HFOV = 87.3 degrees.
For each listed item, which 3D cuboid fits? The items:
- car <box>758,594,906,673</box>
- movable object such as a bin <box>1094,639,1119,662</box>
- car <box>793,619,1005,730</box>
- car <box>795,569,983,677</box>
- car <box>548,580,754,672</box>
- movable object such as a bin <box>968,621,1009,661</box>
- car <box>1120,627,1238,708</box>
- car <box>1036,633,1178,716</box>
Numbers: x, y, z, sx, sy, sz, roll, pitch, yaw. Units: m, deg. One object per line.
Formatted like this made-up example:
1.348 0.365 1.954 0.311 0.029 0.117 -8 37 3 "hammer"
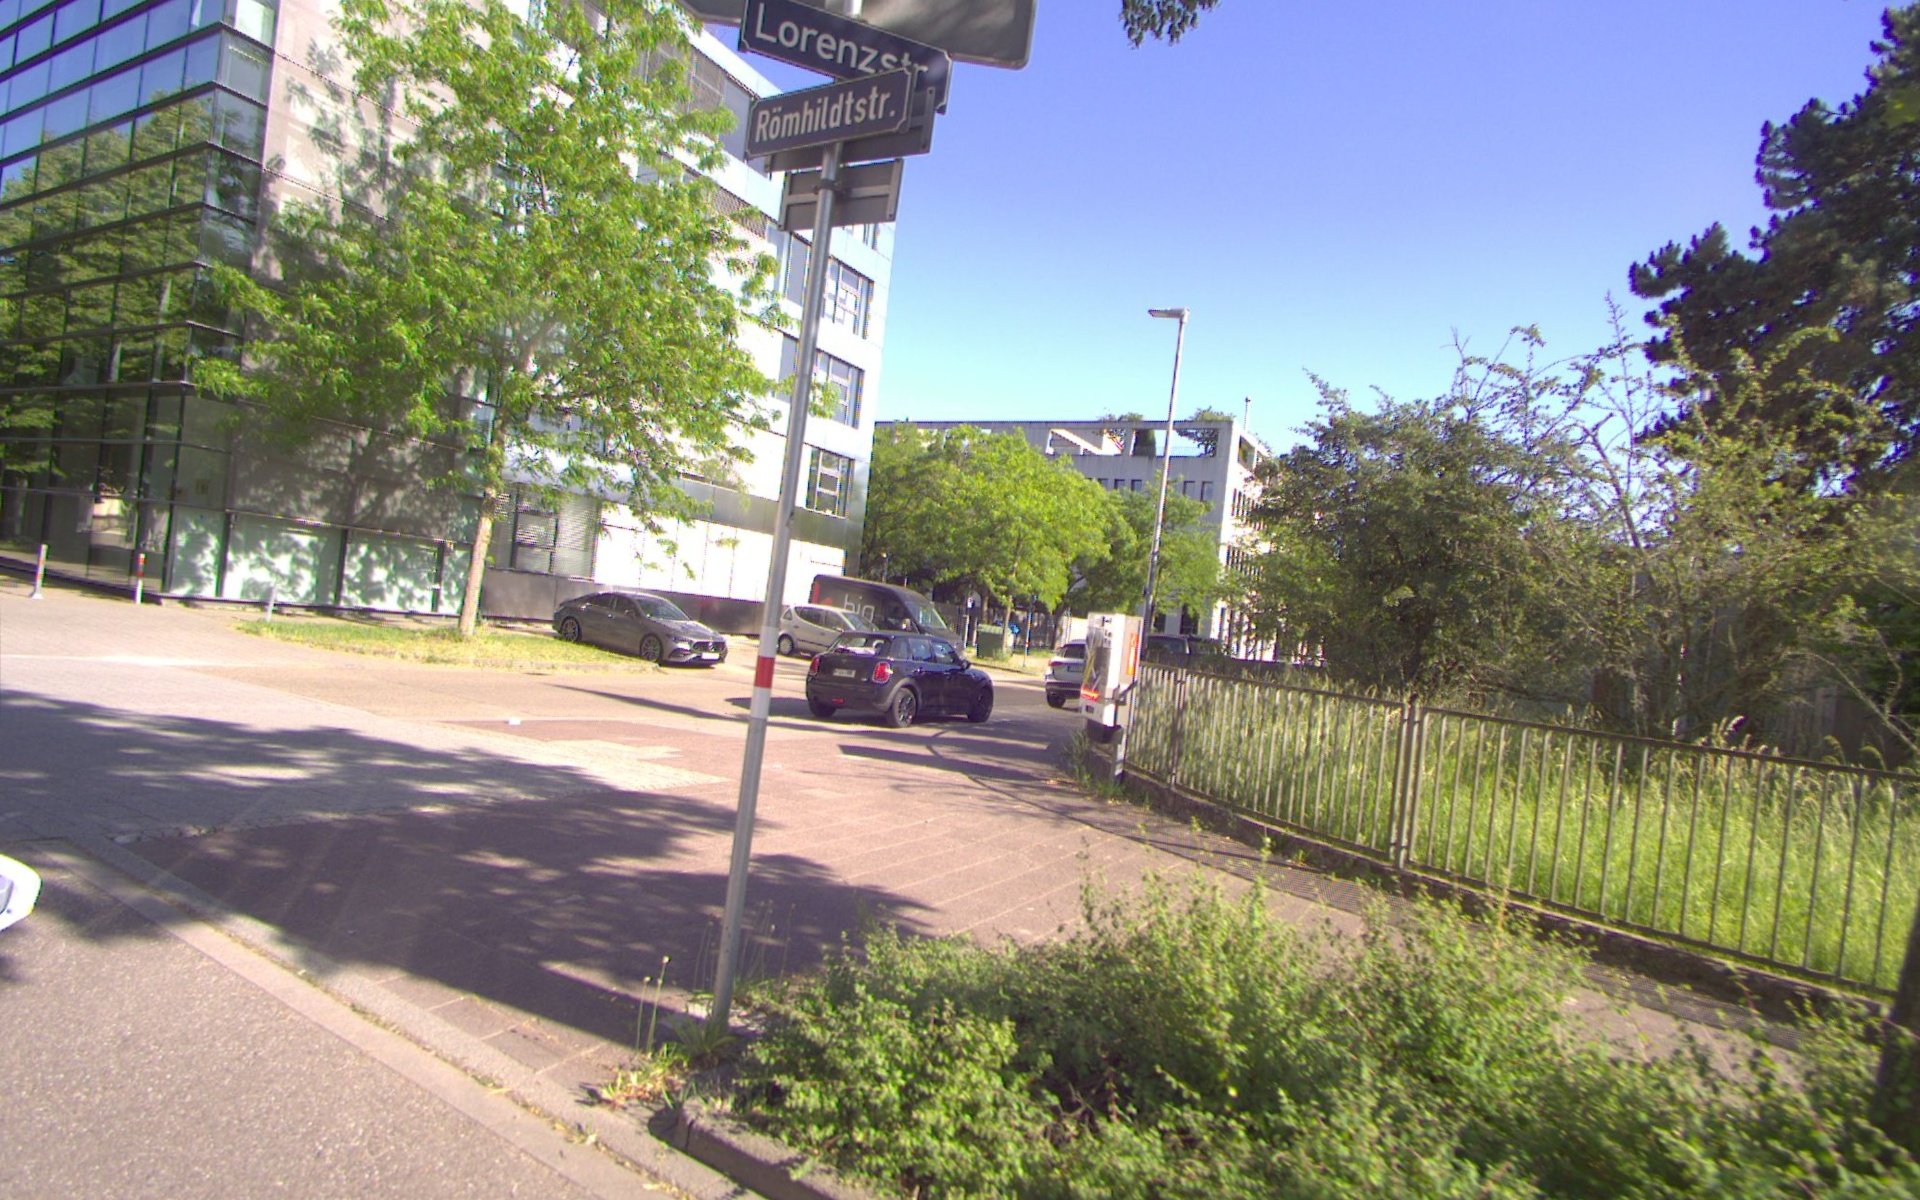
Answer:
-3.787 0.983 29.676 3.778 1.665 1.890 9 1 29 "car"
8.585 2.940 58.709 0.654 1.196 1.932 6 0 30 "movable object such as a bin"
-0.872 1.229 16.561 1.629 1.489 3.759 4 -2 29 "car"
-2.280 0.706 31.821 5.379 2.655 2.228 7 0 30 "car"
-7.111 0.584 23.034 4.472 1.367 1.889 9 0 30 "car"
1.146 1.637 40.466 1.273 1.431 1.228 7 0 13 "movable object such as a bin"
6.593 2.026 29.808 1.917 2.046 4.818 5 -2 30 "car"
3.595 1.781 23.893 1.801 1.648 4.287 4 -2 30 "car"
